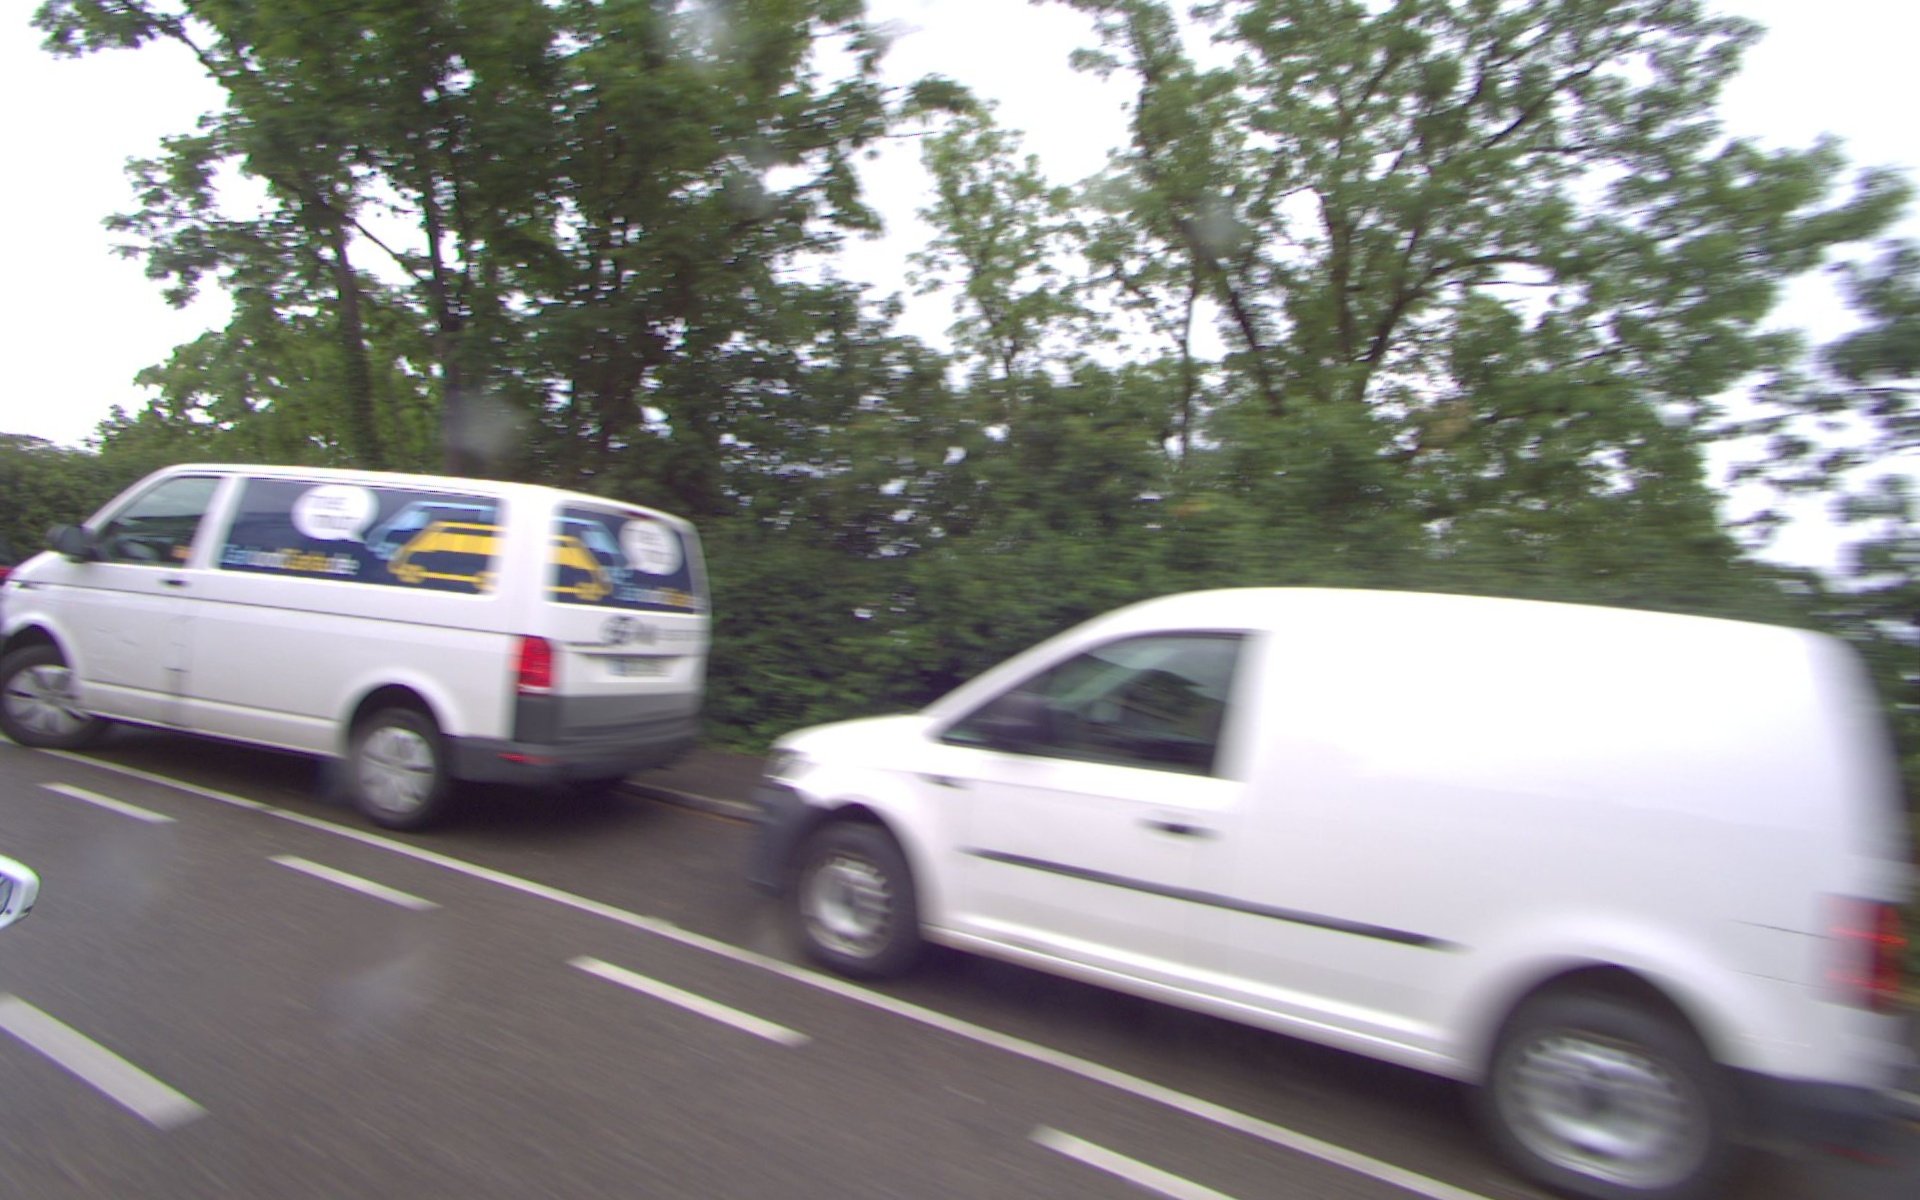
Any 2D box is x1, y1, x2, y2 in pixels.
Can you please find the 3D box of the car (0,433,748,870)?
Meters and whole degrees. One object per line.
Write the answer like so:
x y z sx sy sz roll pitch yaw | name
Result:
-4.074 0.185 6.738 4.717 1.972 1.866 7 0 17 | car

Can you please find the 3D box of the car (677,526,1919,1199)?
1.162 0.830 4.358 4.300 1.793 1.864 6 0 25 | car

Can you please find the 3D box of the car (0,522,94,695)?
-9.787 -0.148 8.474 3.671 1.430 1.678 7 -1 9 | car
